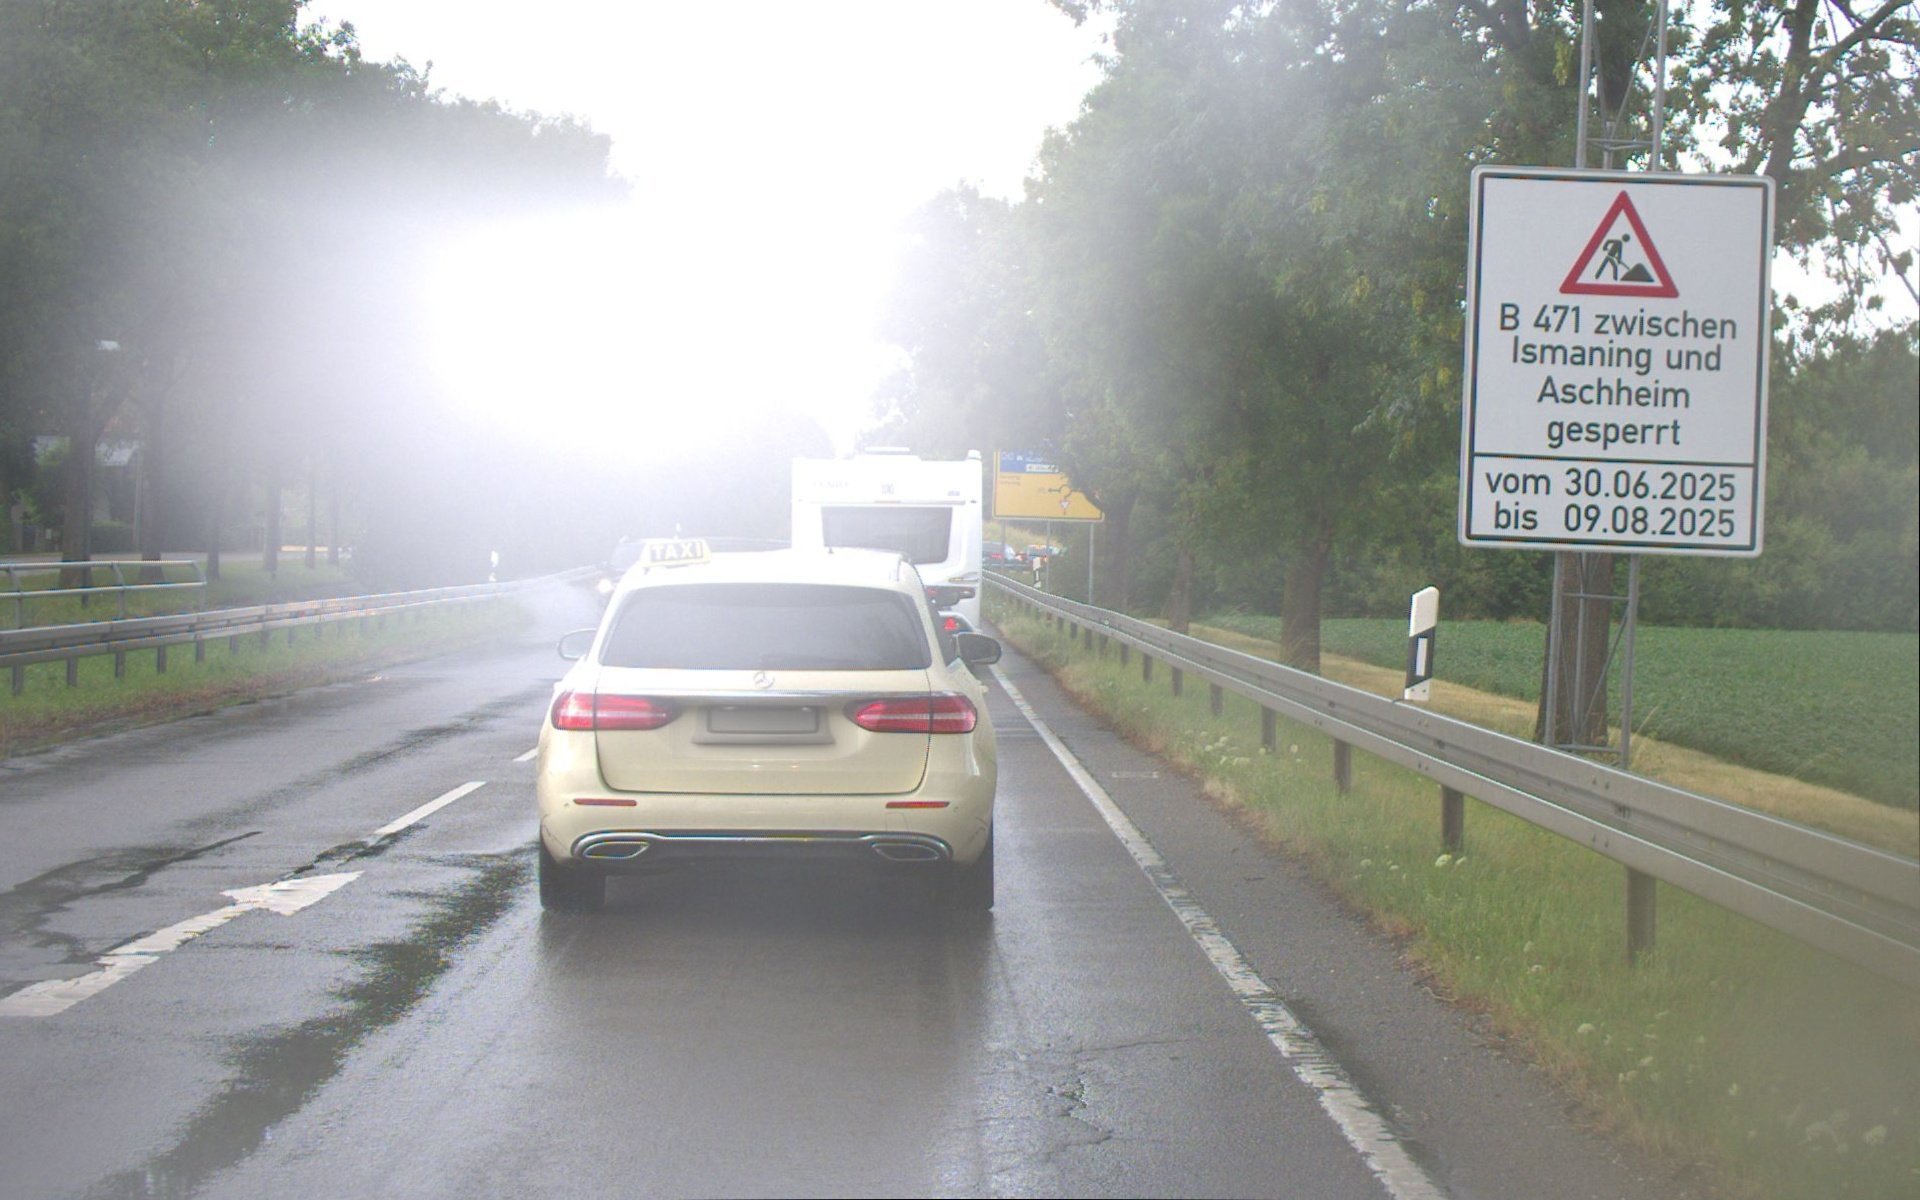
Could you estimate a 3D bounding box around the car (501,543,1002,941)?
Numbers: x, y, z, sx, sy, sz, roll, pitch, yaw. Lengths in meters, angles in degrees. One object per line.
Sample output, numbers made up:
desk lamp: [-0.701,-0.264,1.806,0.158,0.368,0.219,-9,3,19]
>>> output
car: [-0.771,0.498,14.828,1.865,1.471,4.000,0,1,0]

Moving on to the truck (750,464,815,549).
truck: [-7.430,-3.909,144.497,2.576,3.440,9.557,0,1,-2]

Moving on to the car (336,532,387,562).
car: [-29.765,-2.657,170.938,1.785,1.411,4.000,2,1,0]

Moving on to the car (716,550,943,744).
car: [-0.988,0.323,27.733,1.664,1.426,4.000,0,1,0]

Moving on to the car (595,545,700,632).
car: [-5.999,-0.250,66.289,1.764,1.614,4.000,0,1,-1]

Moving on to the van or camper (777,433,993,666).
van or camper: [-0.870,-0.643,43.078,2.489,2.676,5.700,1,1,0]
